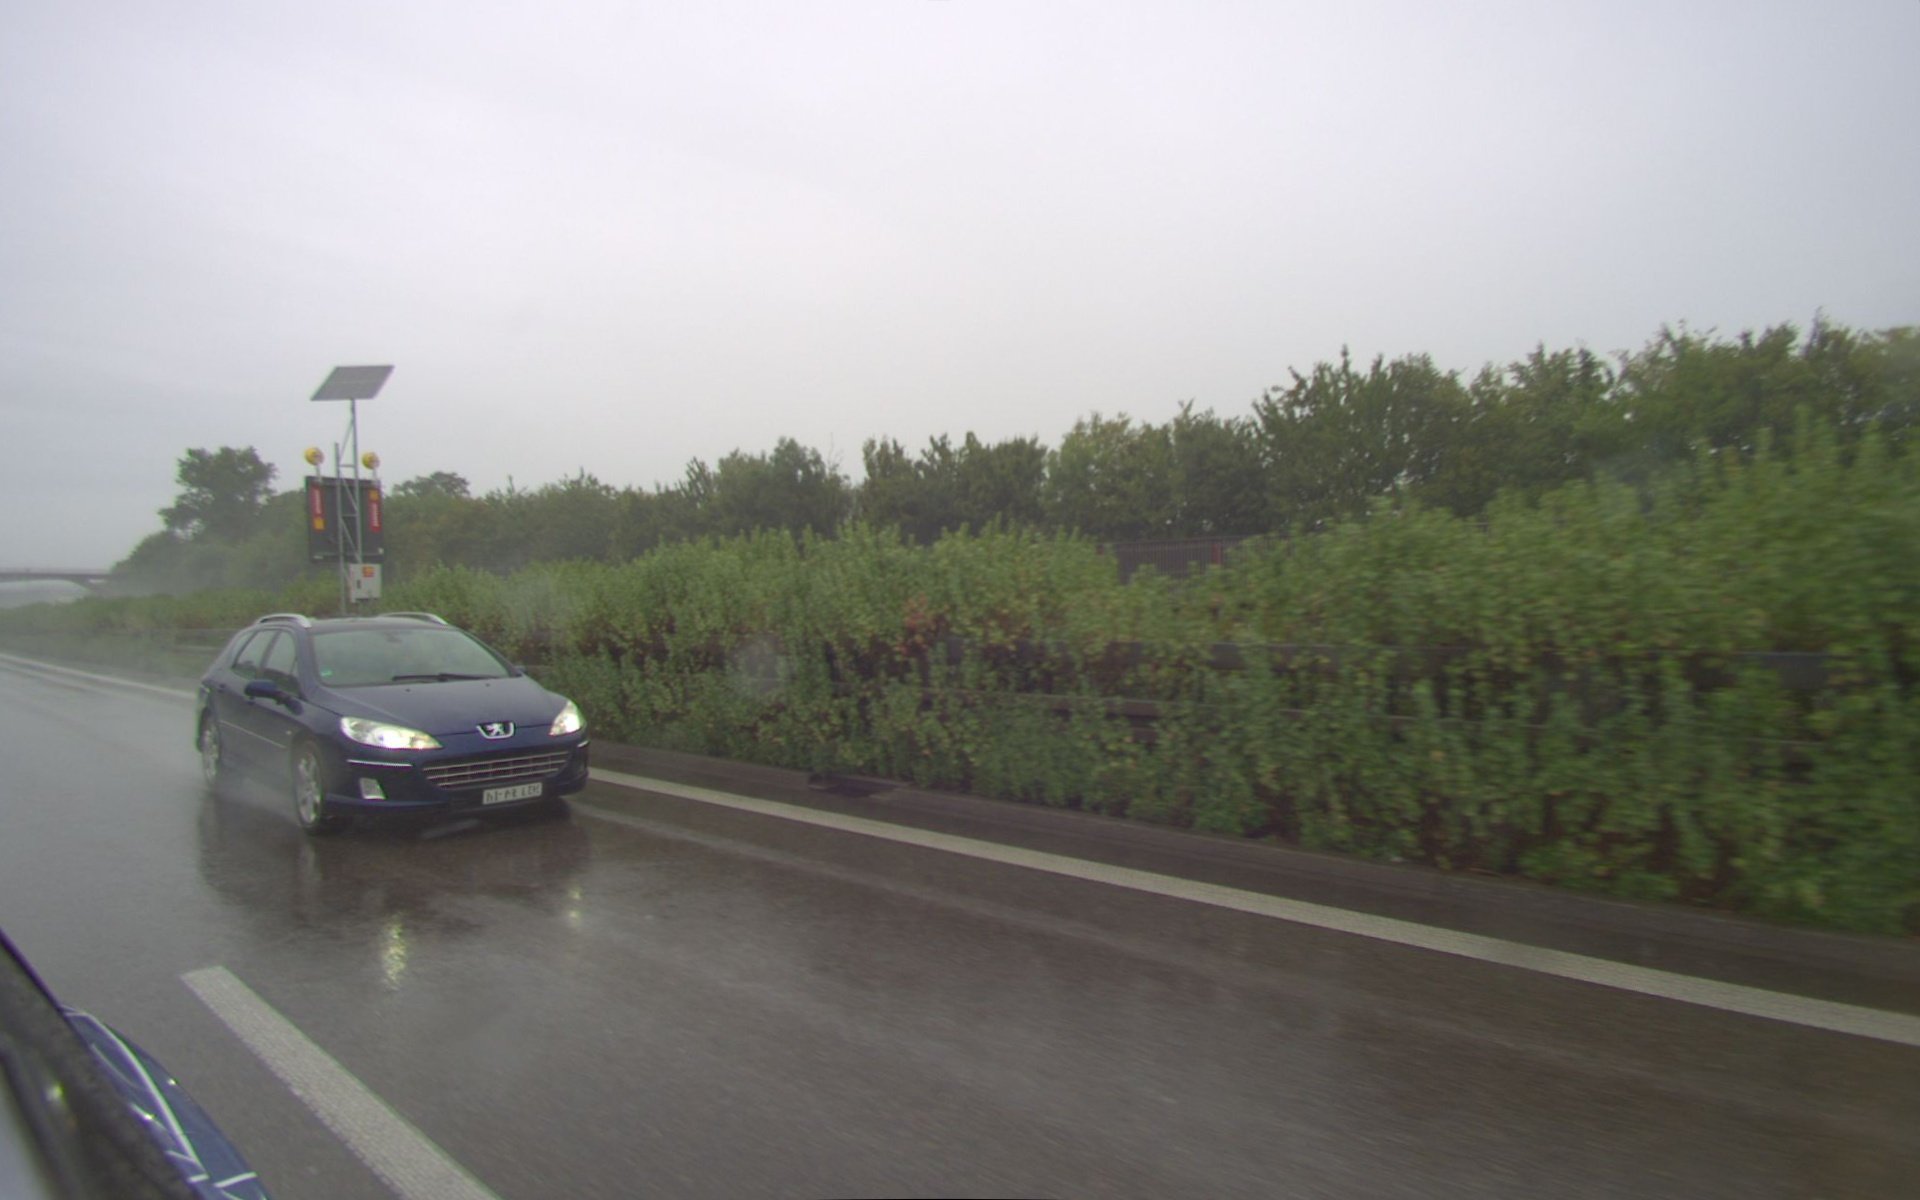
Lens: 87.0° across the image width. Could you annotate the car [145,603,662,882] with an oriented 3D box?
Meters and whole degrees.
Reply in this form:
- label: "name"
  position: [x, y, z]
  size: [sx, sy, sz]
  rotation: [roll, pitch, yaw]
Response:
- label: "car"
  position: [-4.652, 0.818, 8.005]
  size: [5.157, 1.496, 2.032]
  rotation: [-1, 0, 42]
